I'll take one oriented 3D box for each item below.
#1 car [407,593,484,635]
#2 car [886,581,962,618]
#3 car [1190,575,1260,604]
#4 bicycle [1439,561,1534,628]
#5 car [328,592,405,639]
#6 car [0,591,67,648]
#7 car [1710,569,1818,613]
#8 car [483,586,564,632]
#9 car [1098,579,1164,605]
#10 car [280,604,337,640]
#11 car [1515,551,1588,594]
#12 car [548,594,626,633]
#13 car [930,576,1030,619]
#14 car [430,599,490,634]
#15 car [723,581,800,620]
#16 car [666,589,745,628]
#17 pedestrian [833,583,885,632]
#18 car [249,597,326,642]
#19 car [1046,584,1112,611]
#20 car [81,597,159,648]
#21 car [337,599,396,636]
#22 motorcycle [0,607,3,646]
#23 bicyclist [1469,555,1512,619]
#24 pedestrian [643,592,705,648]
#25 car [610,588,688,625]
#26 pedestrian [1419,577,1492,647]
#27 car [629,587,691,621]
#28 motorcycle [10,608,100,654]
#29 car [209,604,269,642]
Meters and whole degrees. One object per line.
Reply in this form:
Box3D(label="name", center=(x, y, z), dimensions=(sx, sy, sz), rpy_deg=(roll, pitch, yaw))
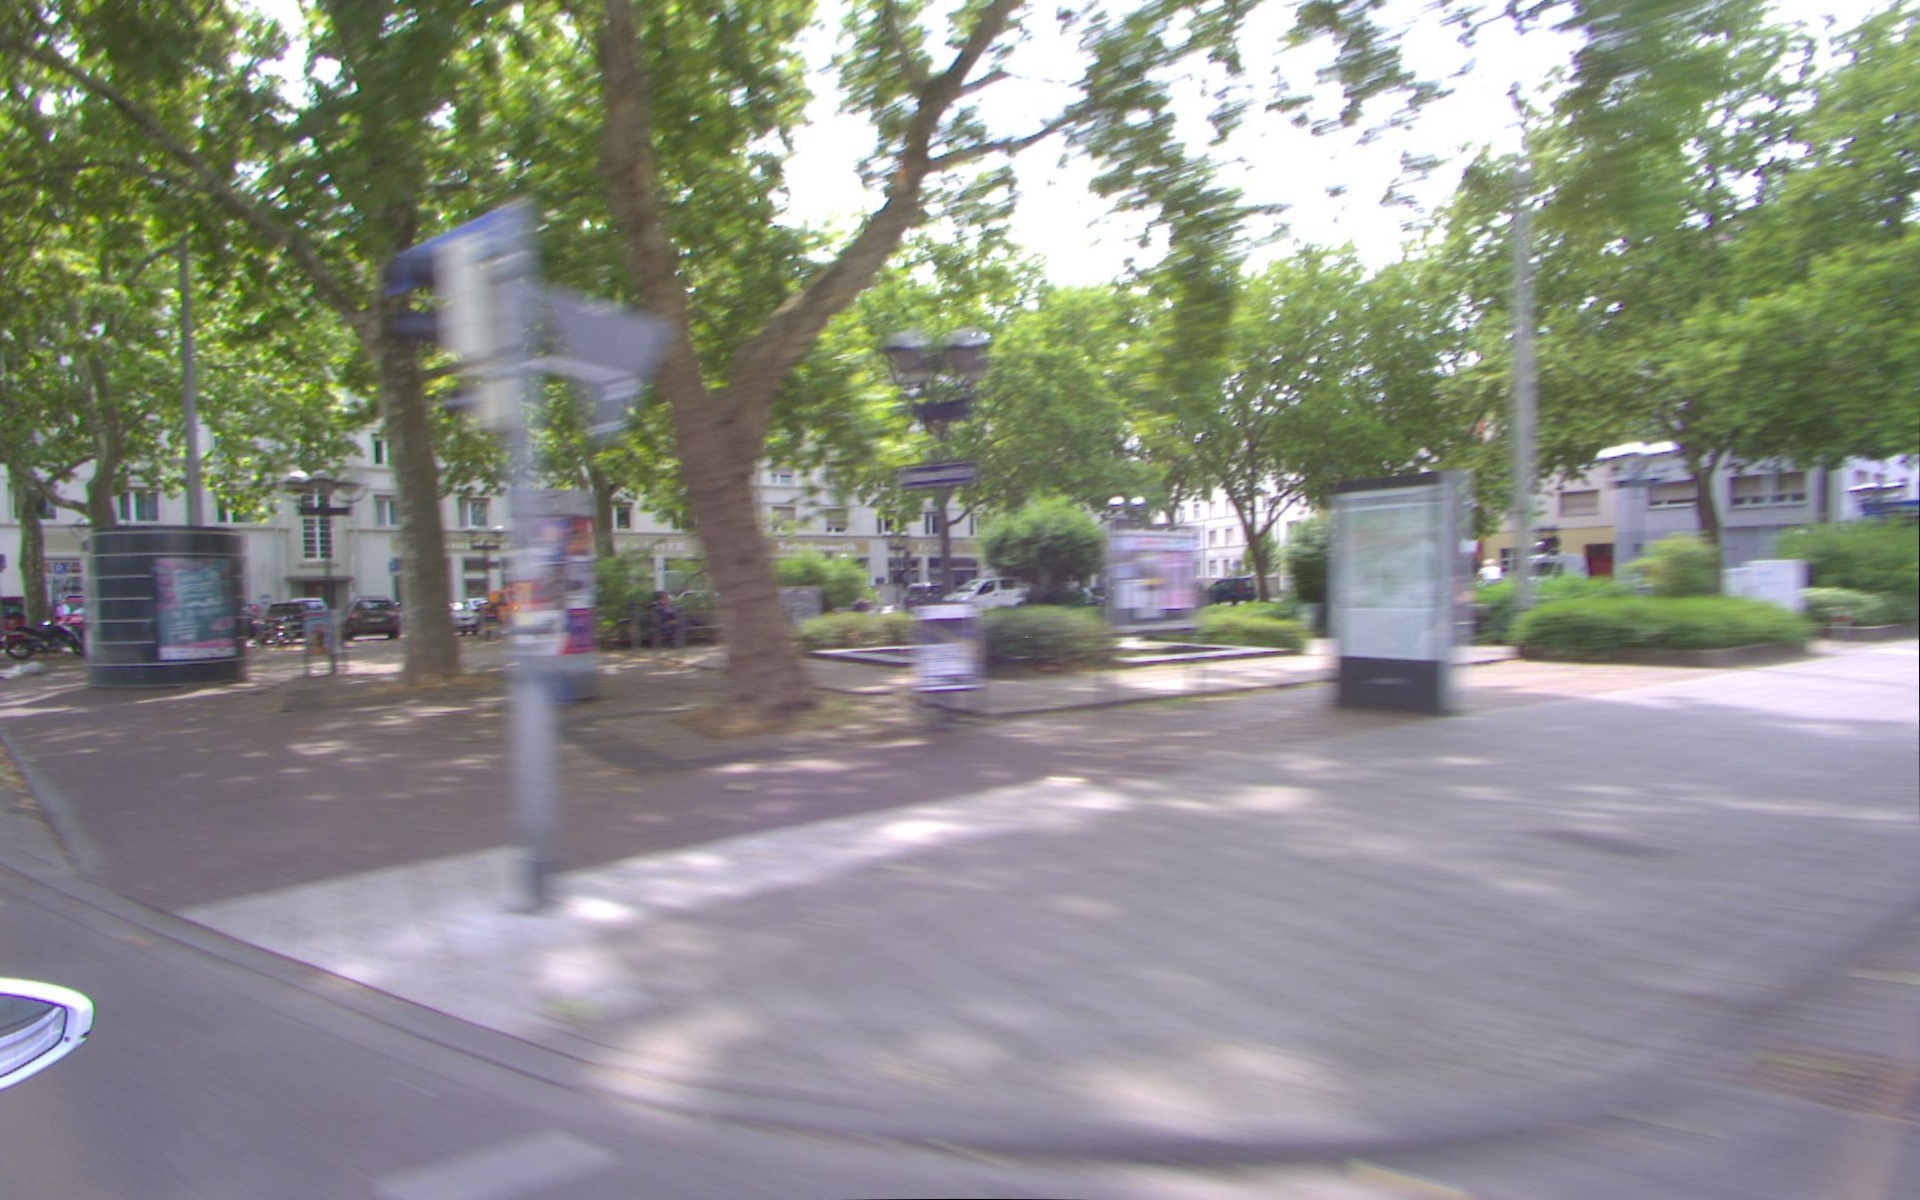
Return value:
Box3D(label="car", center=(-20.275, 0.530, 39.409), dimensions=(1.976, 1.484, 3.969), rpy_deg=(-2, 1, -38))
Box3D(label="car", center=(-1.896, -0.016, 51.693), dimensions=(1.895, 1.840, 3.968), rpy_deg=(-2, 1, -38))
Box3D(label="car", center=(17.151, -0.653, 64.977), dimensions=(1.979, 1.818, 3.962), rpy_deg=(-2, 1, -43))
Box3D(label="bicycle", center=(14.072, -0.167, 26.851), dimensions=(0.713, 1.729, 2.169), rpy_deg=(-2, 2, -35))
Box3D(label="car", center=(-22.413, 0.560, 37.754), dimensions=(1.976, 1.620, 3.969), rpy_deg=(-2, 1, -38))
Box3D(label="car", center=(-30.322, 0.619, 32.308), dimensions=(1.915, 1.729, 4.296), rpy_deg=(-2, 1, -38))
Box3D(label="car", center=(34.993, -0.407, 43.599), dimensions=(3.933, 1.840, 1.994), rpy_deg=(-1, 2, -21))
Box3D(label="car", center=(-17.980, 0.356, 41.157), dimensions=(1.976, 1.718, 4.524), rpy_deg=(-2, 1, -38))
Box3D(label="car", center=(10.229, -0.497, 60.103), dimensions=(1.968, 1.503, 4.085), rpy_deg=(-2, 1, -24))
Box3D(label="car", center=(-29.434, 0.943, 45.199), dimensions=(1.974, 1.507, 4.165), rpy_deg=(-2, 1, -35))
Box3D(label="car", center=(30.781, -1.406, 52.103), dimensions=(3.980, 2.136, 1.984), rpy_deg=(-2, 2, -39))
Box3D(label="car", center=(-15.683, 0.536, 41.979), dimensions=(1.976, 1.484, 3.969), rpy_deg=(-2, 1, -38))
Box3D(label="car", center=(0.952, -0.143, 46.599), dimensions=(4.275, 1.840, 1.987), rpy_deg=(-2, 2, -34))
Box3D(label="car", center=(-24.841, 0.783, 49.668), dimensions=(1.975, 1.612, 4.164), rpy_deg=(-2, 1, -36))
Box3D(label="car", center=(-9.228, 0.004, 46.291), dimensions=(1.975, 1.662, 3.970), rpy_deg=(-2, 1, -36))
Box3D(label="car", center=(-11.543, 0.372, 45.287), dimensions=(1.976, 1.640, 4.172), rpy_deg=(-2, 1, -38))
Box3D(label="pedestrian", center=(-2.610, 0.179, 25.832), dimensions=(0.877, 1.216, 1.116), rpy_deg=(-2, 2, -37))
Box3D(label="car", center=(-24.032, 0.666, 35.728), dimensions=(1.976, 1.484, 3.969), rpy_deg=(-2, 1, -38))
Box3D(label="car", center=(6.799, -0.164, 57.631), dimensions=(1.968, 1.503, 4.085), rpy_deg=(-2, 1, -24))
Box3D(label="car", center=(-28.688, 0.733, 34.315), dimensions=(1.811, 1.573, 3.969), rpy_deg=(-2, 1, -38))
Box3D(label="car", center=(-27.438, 0.781, 46.245), dimensions=(1.974, 1.612, 4.165), rpy_deg=(-2, 1, -35))
Box3D(label="motorcycle", center=(-38.409, 1.034, 39.497), dimensions=(2.280, 1.482, 0.827), rpy_deg=(1, 3, 44))
Box3D(label="bicyclist", center=(14.141, -0.360, 26.710), dimensions=(0.555, 1.675, 0.861), rpy_deg=(-2, 2, -36))
Box3D(label="pedestrian", center=(-6.647, 0.446, 23.266), dimensions=(1.084, 1.229, 1.133), rpy_deg=(-2, 1, -33))
Box3D(label="car", center=(-13.635, 0.273, 43.783), dimensions=(1.976, 1.484, 3.969), rpy_deg=(-2, 1, -38))
Box3D(label="pedestrian", center=(9.843, 0.225, 19.884), dimensions=(1.164, 1.336, 0.861), rpy_deg=(-2, 2, -36))
Box3D(label="car", center=(-16.292, 0.223, 54.324), dimensions=(1.975, 1.751, 3.971), rpy_deg=(-2, 1, -36))
Box3D(label="motorcycle", center=(-26.284, 0.892, 29.113), dimensions=(0.523, 1.239, 1.851), rpy_deg=(1, 2, 29))
Box3D(label="car", center=(-31.450, 0.970, 43.747), dimensions=(1.974, 1.524, 4.165), rpy_deg=(-2, 1, -35))
